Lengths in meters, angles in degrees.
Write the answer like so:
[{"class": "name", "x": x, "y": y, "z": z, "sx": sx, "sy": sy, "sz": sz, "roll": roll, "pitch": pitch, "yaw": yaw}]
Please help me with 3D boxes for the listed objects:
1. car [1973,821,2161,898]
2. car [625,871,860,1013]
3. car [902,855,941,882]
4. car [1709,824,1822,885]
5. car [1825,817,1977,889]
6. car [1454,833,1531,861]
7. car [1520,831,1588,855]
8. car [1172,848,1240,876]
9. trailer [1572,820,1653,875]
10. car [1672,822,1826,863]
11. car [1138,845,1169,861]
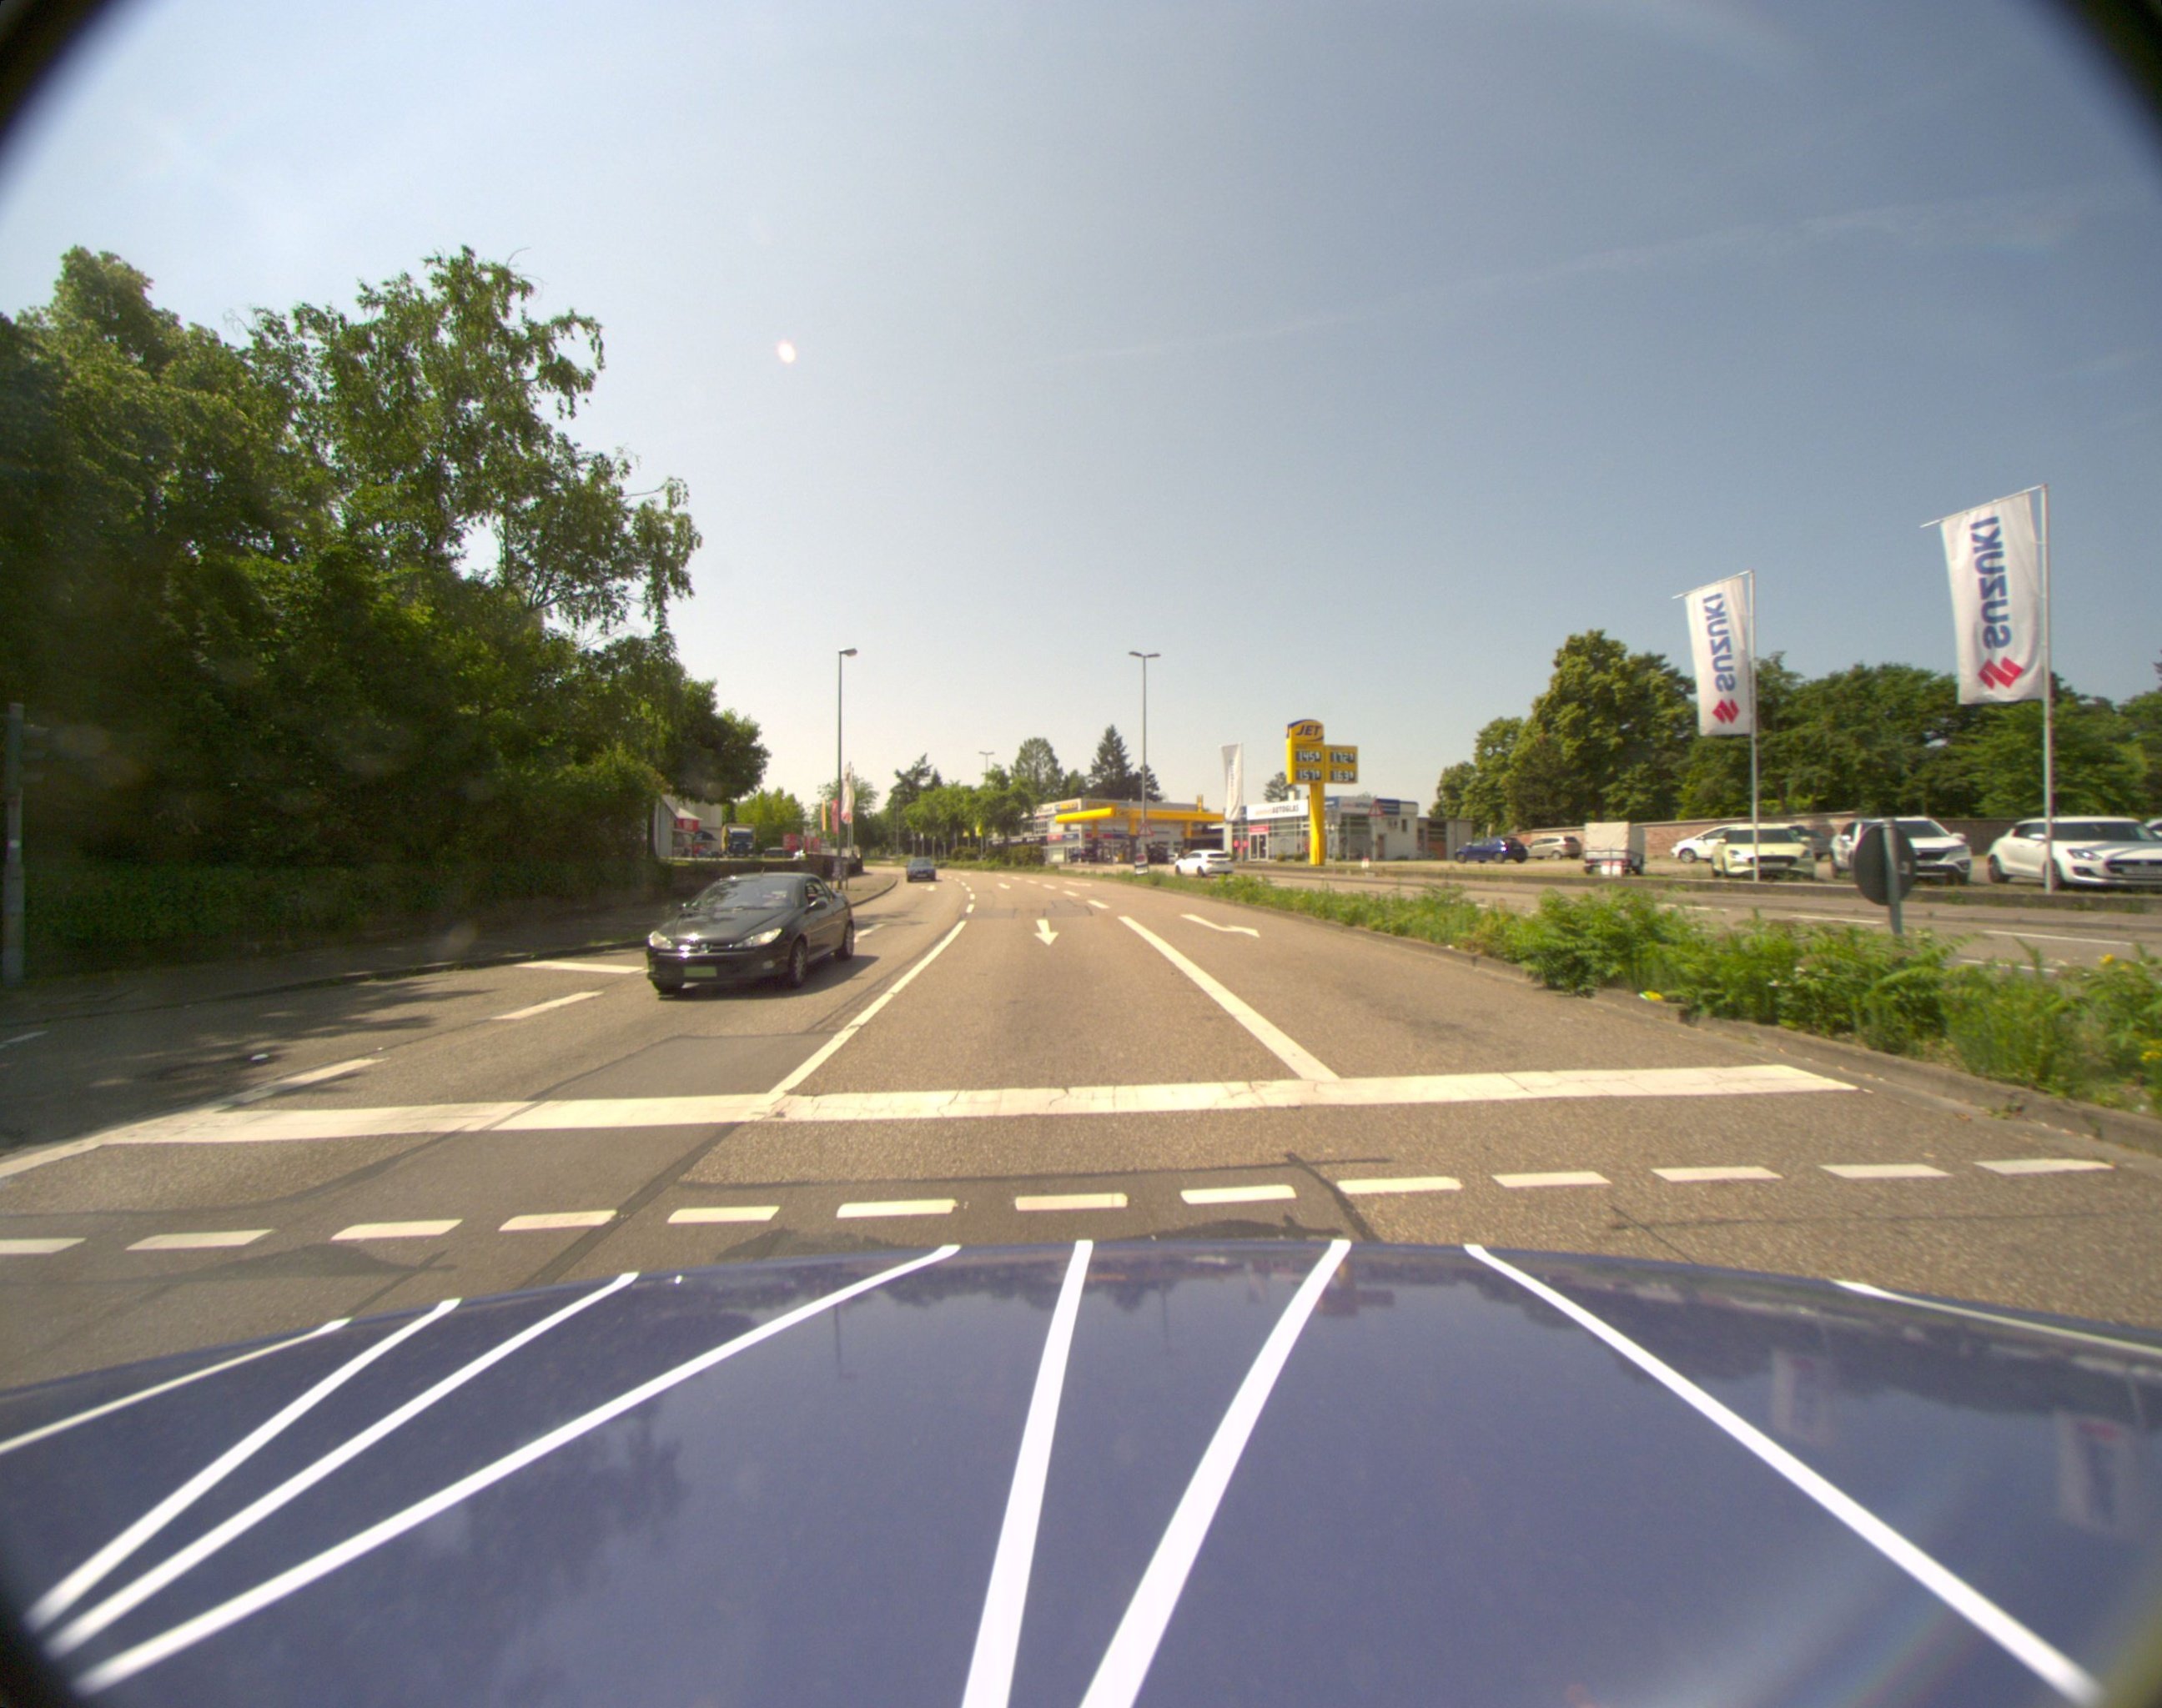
[{"class": "car", "x": 20.657, "y": 0.036, "z": 15.760, "sx": 1.711, "sy": 1.424, "sz": 3.969, "roll": 1, "pitch": 2, "yaw": 33}, {"class": "car", "x": -4.197, "y": 0.994, "z": 10.082, "sx": 1.604, "sy": 1.416, "sz": 3.660, "roll": -1, "pitch": 0, "yaw": -3}, {"class": "car", "x": -9.325, "y": 0.784, "z": 44.206, "sx": 1.700, "sy": 1.366, "sz": 3.992, "roll": 0, "pitch": 2, "yaw": -20}, {"class": "car", "x": 18.537, "y": -0.030, "z": 20.743, "sx": 1.753, "sy": 1.501, "sz": 3.827, "roll": -1, "pitch": 1, "yaw": 34}, {"class": "car", "x": 19.552, "y": -0.078, "z": 18.320, "sx": 1.913, "sy": 1.532, "sz": 3.970, "roll": -1, "pitch": 1, "yaw": 38}, {"class": "car", "x": 23.043, "y": -0.372, "z": 42.681, "sx": 1.696, "sy": 1.497, "sz": 3.625, "roll": -1, "pitch": 1, "yaw": -19}, {"class": "car", "x": 31.193, "y": -0.695, "z": 50.216, "sx": 1.621, "sy": 1.497, "sz": 3.625, "roll": -1, "pitch": 1, "yaw": -19}, {"class": "car", "x": 6.625, "y": 0.454, "z": 40.725, "sx": 1.875, "sy": 1.416, "sz": 4.262, "roll": 0, "pitch": -1, "yaw": -18}, {"class": "trailer", "x": 17.167, "y": -0.222, "z": 24.503, "sx": 2.439, "sy": 1.694, "sz": 1.689, "roll": -2, "pitch": 1, "yaw": -44}, {"class": "car", "x": 28.760, "y": -0.479, "z": 32.925, "sx": 1.696, "sy": 1.640, "sz": 4.748, "roll": -1, "pitch": 1, "yaw": -21}, {"class": "car", "x": 7.794, "y": -0.116, "z": 82.181, "sx": 1.658, "sy": 1.534, "sz": 4.205, "roll": -2, "pitch": 1, "yaw": -21}]
